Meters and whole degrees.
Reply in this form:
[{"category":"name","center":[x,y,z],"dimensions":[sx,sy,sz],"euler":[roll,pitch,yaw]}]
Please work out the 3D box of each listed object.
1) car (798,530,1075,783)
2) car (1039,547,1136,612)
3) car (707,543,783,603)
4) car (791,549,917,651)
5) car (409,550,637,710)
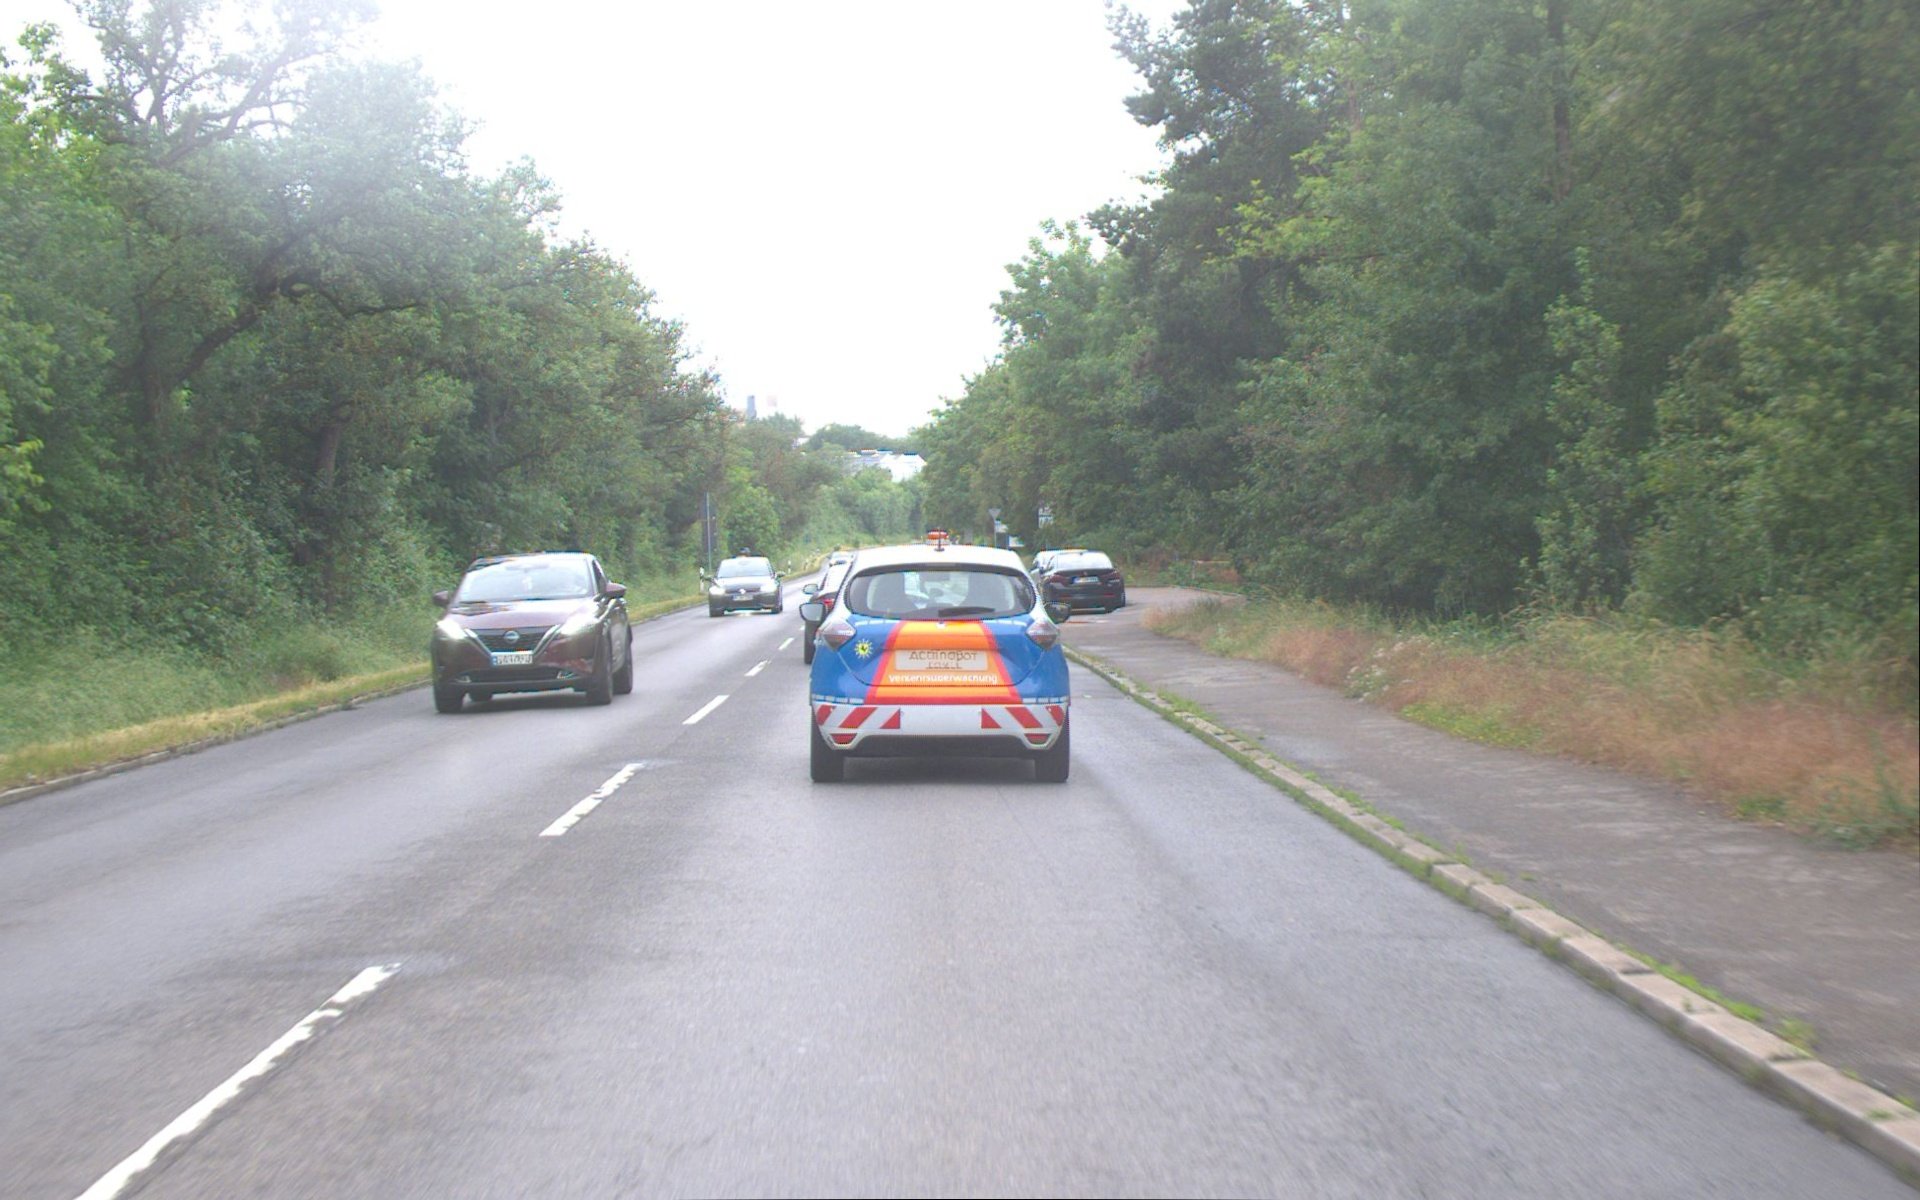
[{"category":"car","center":[-0.186,0.320,23.624],"dimensions":[1.752,1.550,3.793],"euler":[0,2,-1]},{"category":"car","center":[2.873,-0.484,78.222],"dimensions":[1.993,1.371,4.000],"euler":[-2,1,0]},{"category":"car","center":[-5.441,-0.701,87.538],"dimensions":[1.710,1.394,4.150],"euler":[-3,1,-1]},{"category":"car","center":[-1.429,-0.029,47.194],"dimensions":[1.598,1.282,3.476],"euler":[-2,1,0]},{"category":"car","center":[-4.625,0.269,36.954],"dimensions":[1.905,1.551,4.516],"euler":[-2,1,-1]}]
